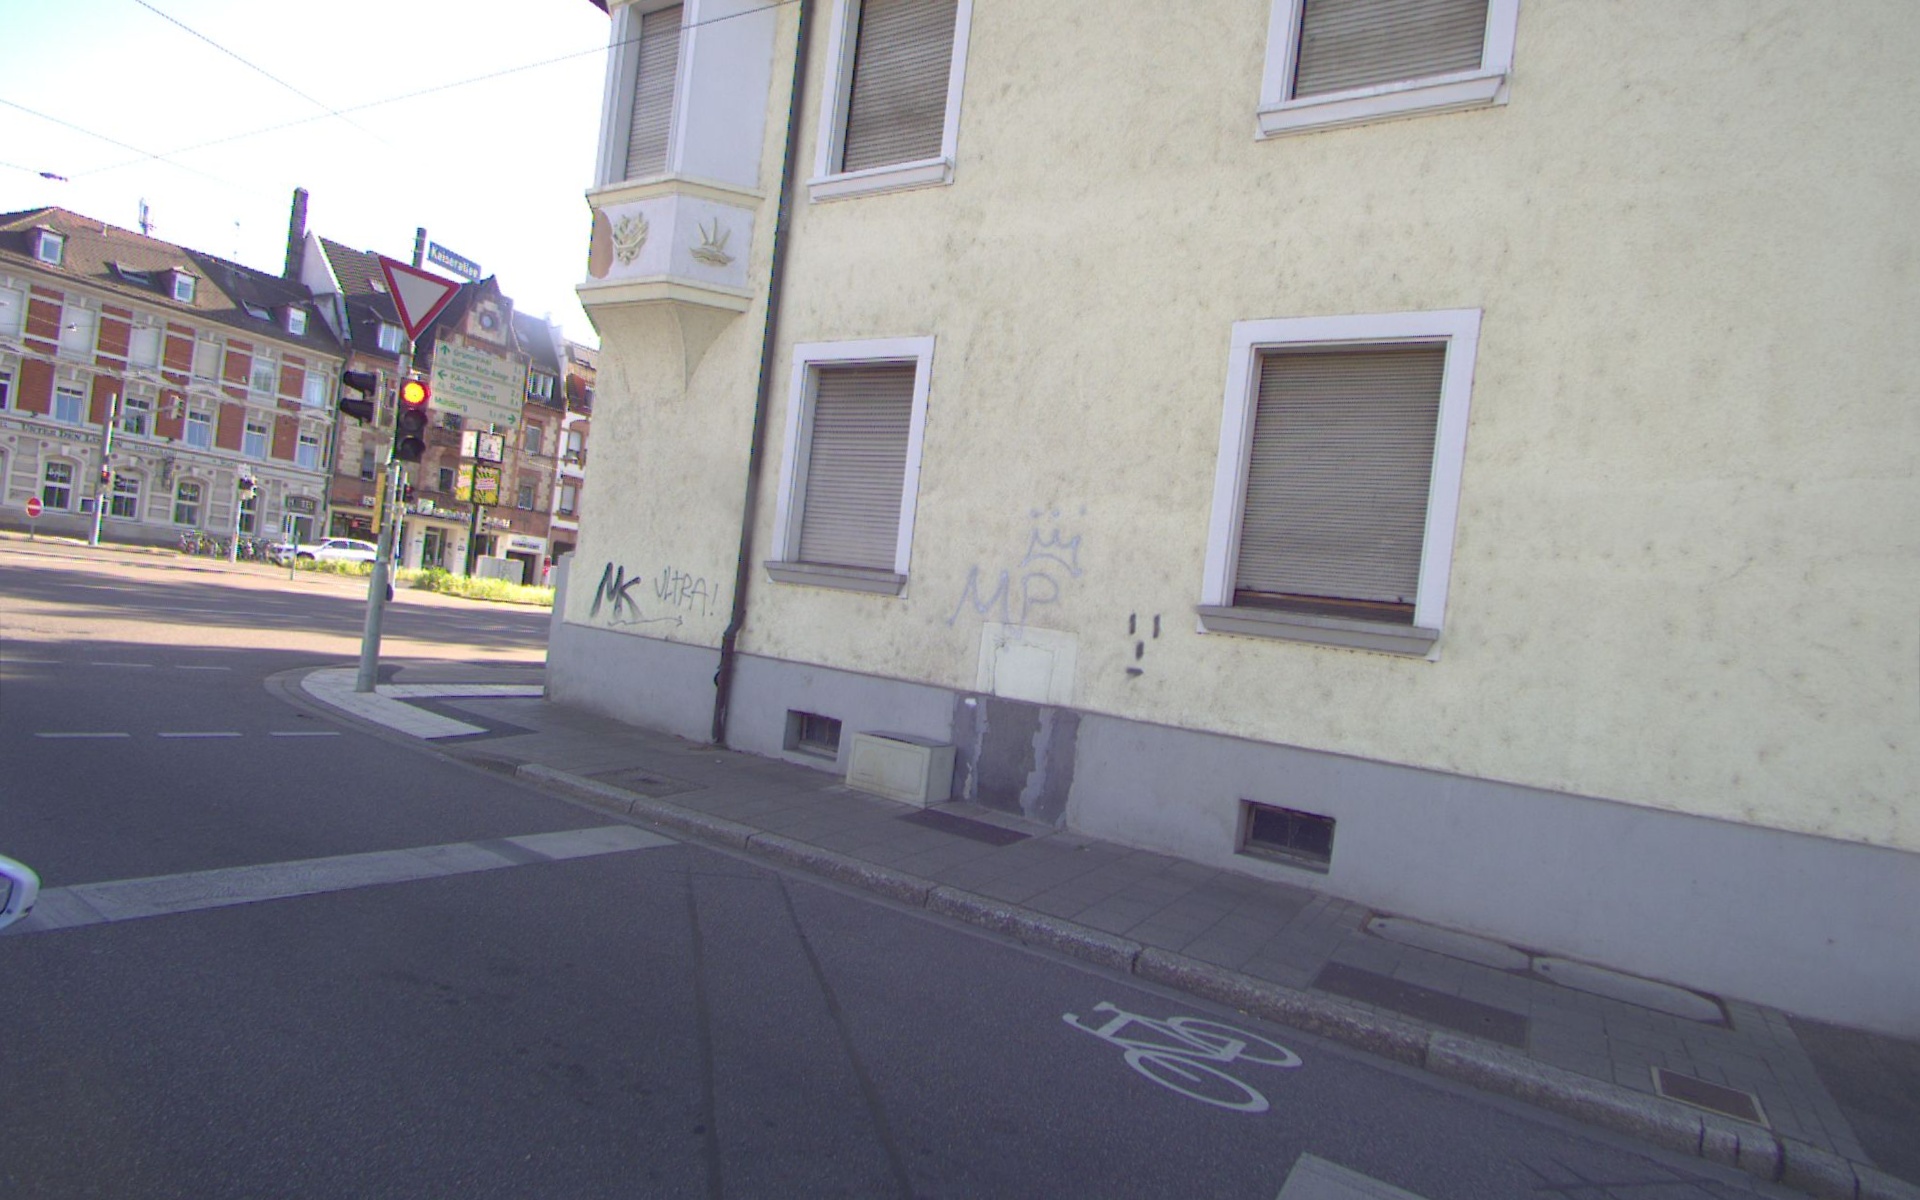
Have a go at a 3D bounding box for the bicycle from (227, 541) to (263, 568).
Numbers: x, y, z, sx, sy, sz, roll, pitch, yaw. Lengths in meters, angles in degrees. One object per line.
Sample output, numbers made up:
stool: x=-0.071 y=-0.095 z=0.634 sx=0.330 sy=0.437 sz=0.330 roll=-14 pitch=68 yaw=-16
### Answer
bicycle: x=-33.646 y=-2.149 z=47.337 sx=1.614 sy=1.064 sz=0.606 roll=7 pitch=0 yaw=27

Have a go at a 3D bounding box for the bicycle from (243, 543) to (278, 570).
bicycle: x=-33.352 y=-2.085 z=47.948 sx=1.614 sy=1.064 sz=0.606 roll=7 pitch=0 yaw=27

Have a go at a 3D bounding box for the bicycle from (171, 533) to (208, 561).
bicycle: x=-34.942 y=-2.389 z=45.609 sx=1.614 sy=1.064 sz=0.606 roll=7 pitch=0 yaw=27

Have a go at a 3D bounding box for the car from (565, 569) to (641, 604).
car: x=-23.119 y=-0.858 z=65.305 sx=1.966 sy=1.674 sz=4.378 roll=7 pitch=-1 yaw=29

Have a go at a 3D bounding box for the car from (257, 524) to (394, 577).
car: x=-28.950 y=-2.240 z=46.056 sx=1.966 sy=1.680 sz=4.857 roll=7 pitch=-1 yaw=30

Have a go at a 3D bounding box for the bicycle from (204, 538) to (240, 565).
bicycle: x=-34.312 y=-2.259 z=46.767 sx=1.614 sy=1.064 sz=0.606 roll=7 pitch=0 yaw=27

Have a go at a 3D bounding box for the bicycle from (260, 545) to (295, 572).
bicycle: x=-32.977 y=-2.010 z=48.585 sx=1.614 sy=1.064 sz=0.606 roll=7 pitch=0 yaw=27

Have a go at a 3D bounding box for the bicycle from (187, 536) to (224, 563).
bicycle: x=-34.642 y=-2.326 z=46.191 sx=1.614 sy=1.064 sz=0.606 roll=7 pitch=0 yaw=27
